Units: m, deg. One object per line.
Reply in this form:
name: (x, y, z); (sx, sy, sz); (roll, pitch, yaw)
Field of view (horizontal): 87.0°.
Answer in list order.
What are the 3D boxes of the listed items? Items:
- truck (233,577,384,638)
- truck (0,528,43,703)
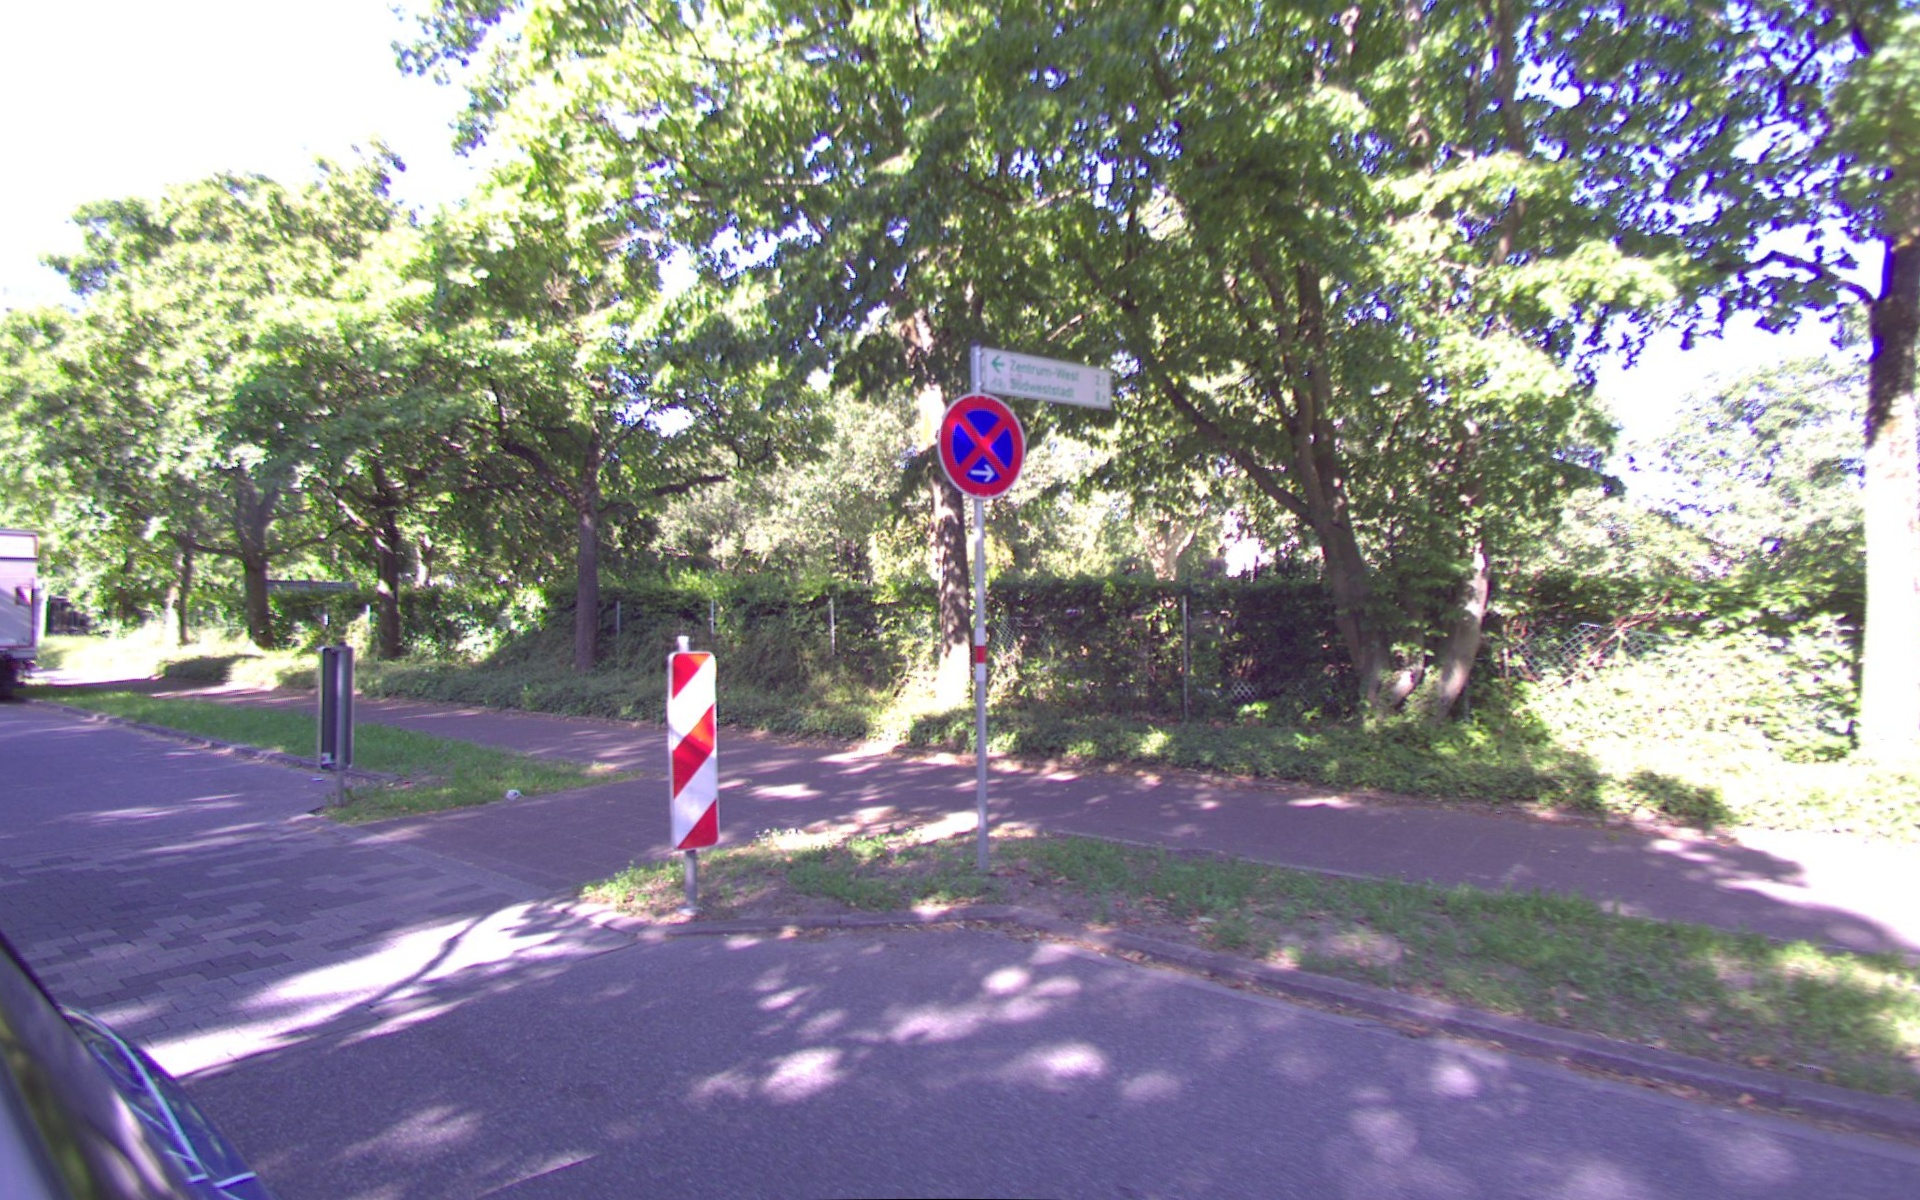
truck: (-23.011, 0.331, 35.859); (2.200, 2.029, 3.950); (-2, -3, 37)
truck: (-23.664, 0.415, 23.197); (8.091, 3.669, 2.708); (-2, -1, 39)
